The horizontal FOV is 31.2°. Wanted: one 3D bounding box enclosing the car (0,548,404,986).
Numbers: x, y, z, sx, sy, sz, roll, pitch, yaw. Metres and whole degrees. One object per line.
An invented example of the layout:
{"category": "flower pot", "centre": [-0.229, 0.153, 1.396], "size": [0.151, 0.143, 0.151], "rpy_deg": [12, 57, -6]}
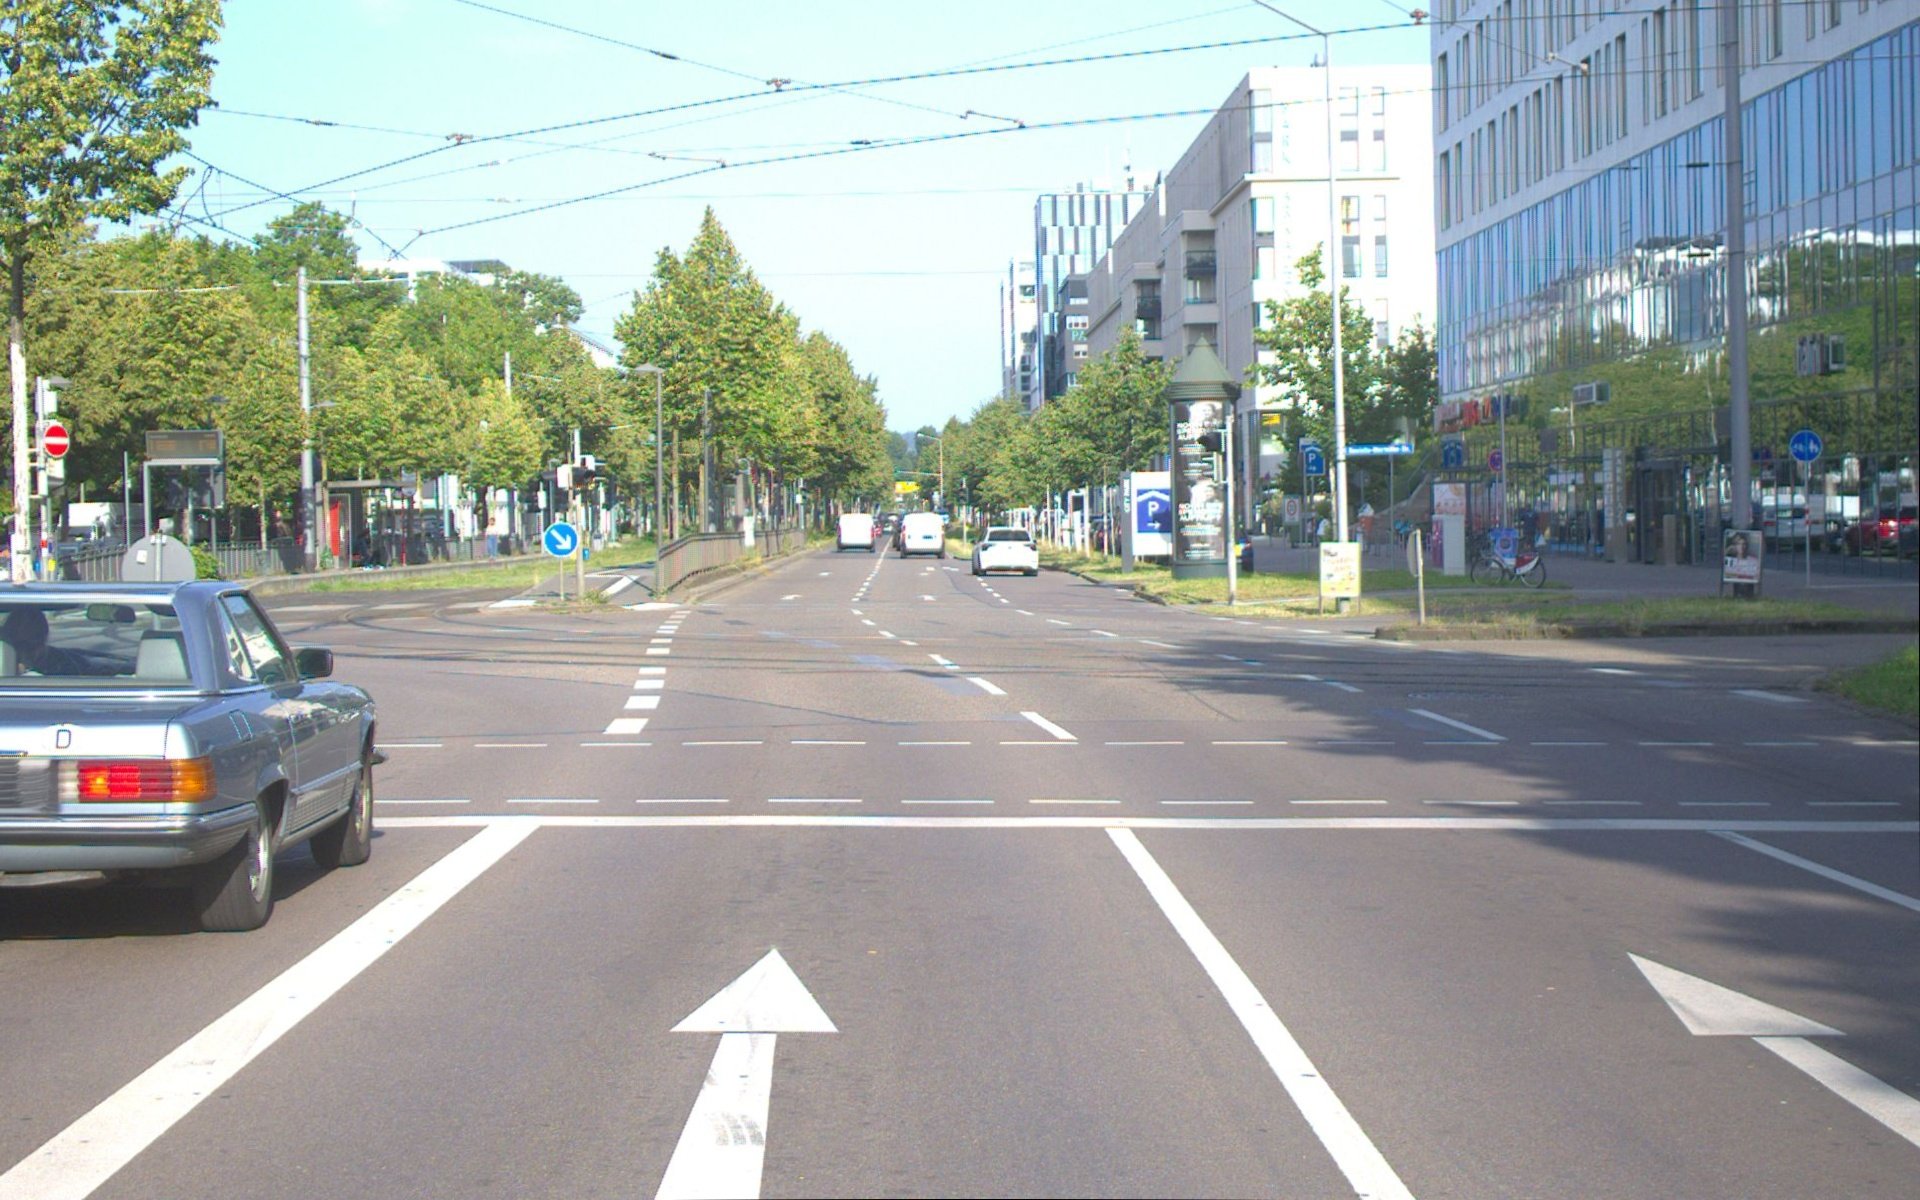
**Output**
{"category": "car", "centre": [-3.352, 0.514, 13.420], "size": [1.763, 1.325, 4.400], "rpy_deg": [1, 2, -2]}

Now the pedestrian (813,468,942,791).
{"category": "pedestrian", "centre": [-0.461, 0.156, 19.393], "size": [0.699, 1.786, 0.635], "rpy_deg": [1, 1, 0]}

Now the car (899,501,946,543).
{"category": "car", "centre": [-1.530, -3.207, 140.845], "size": [1.864, 1.678, 4.000], "rpy_deg": [1, 2, 0]}

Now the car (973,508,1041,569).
{"category": "car", "centre": [1.340, -1.788, 99.384], "size": [1.864, 1.678, 4.000], "rpy_deg": [1, 2, 0]}

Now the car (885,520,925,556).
{"category": "car", "centre": [-2.694, -3.072, 169.566], "size": [1.924, 1.678, 4.000], "rpy_deg": [1, 2, 0]}

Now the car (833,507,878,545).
{"category": "car", "centre": [-4.900, -3.496, 161.802], "size": [2.014, 1.678, 4.000], "rpy_deg": [1, 2, 0]}

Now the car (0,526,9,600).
{"category": "car", "centre": [-20.502, -0.678, 68.417], "size": [1.993, 1.499, 4.093], "rpy_deg": [-2, 2, -1]}

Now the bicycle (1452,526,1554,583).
{"category": "bicycle", "centre": [10.700, -0.908, 67.807], "size": [0.771, 1.028, 1.878], "rpy_deg": [-2, 4, -44]}
